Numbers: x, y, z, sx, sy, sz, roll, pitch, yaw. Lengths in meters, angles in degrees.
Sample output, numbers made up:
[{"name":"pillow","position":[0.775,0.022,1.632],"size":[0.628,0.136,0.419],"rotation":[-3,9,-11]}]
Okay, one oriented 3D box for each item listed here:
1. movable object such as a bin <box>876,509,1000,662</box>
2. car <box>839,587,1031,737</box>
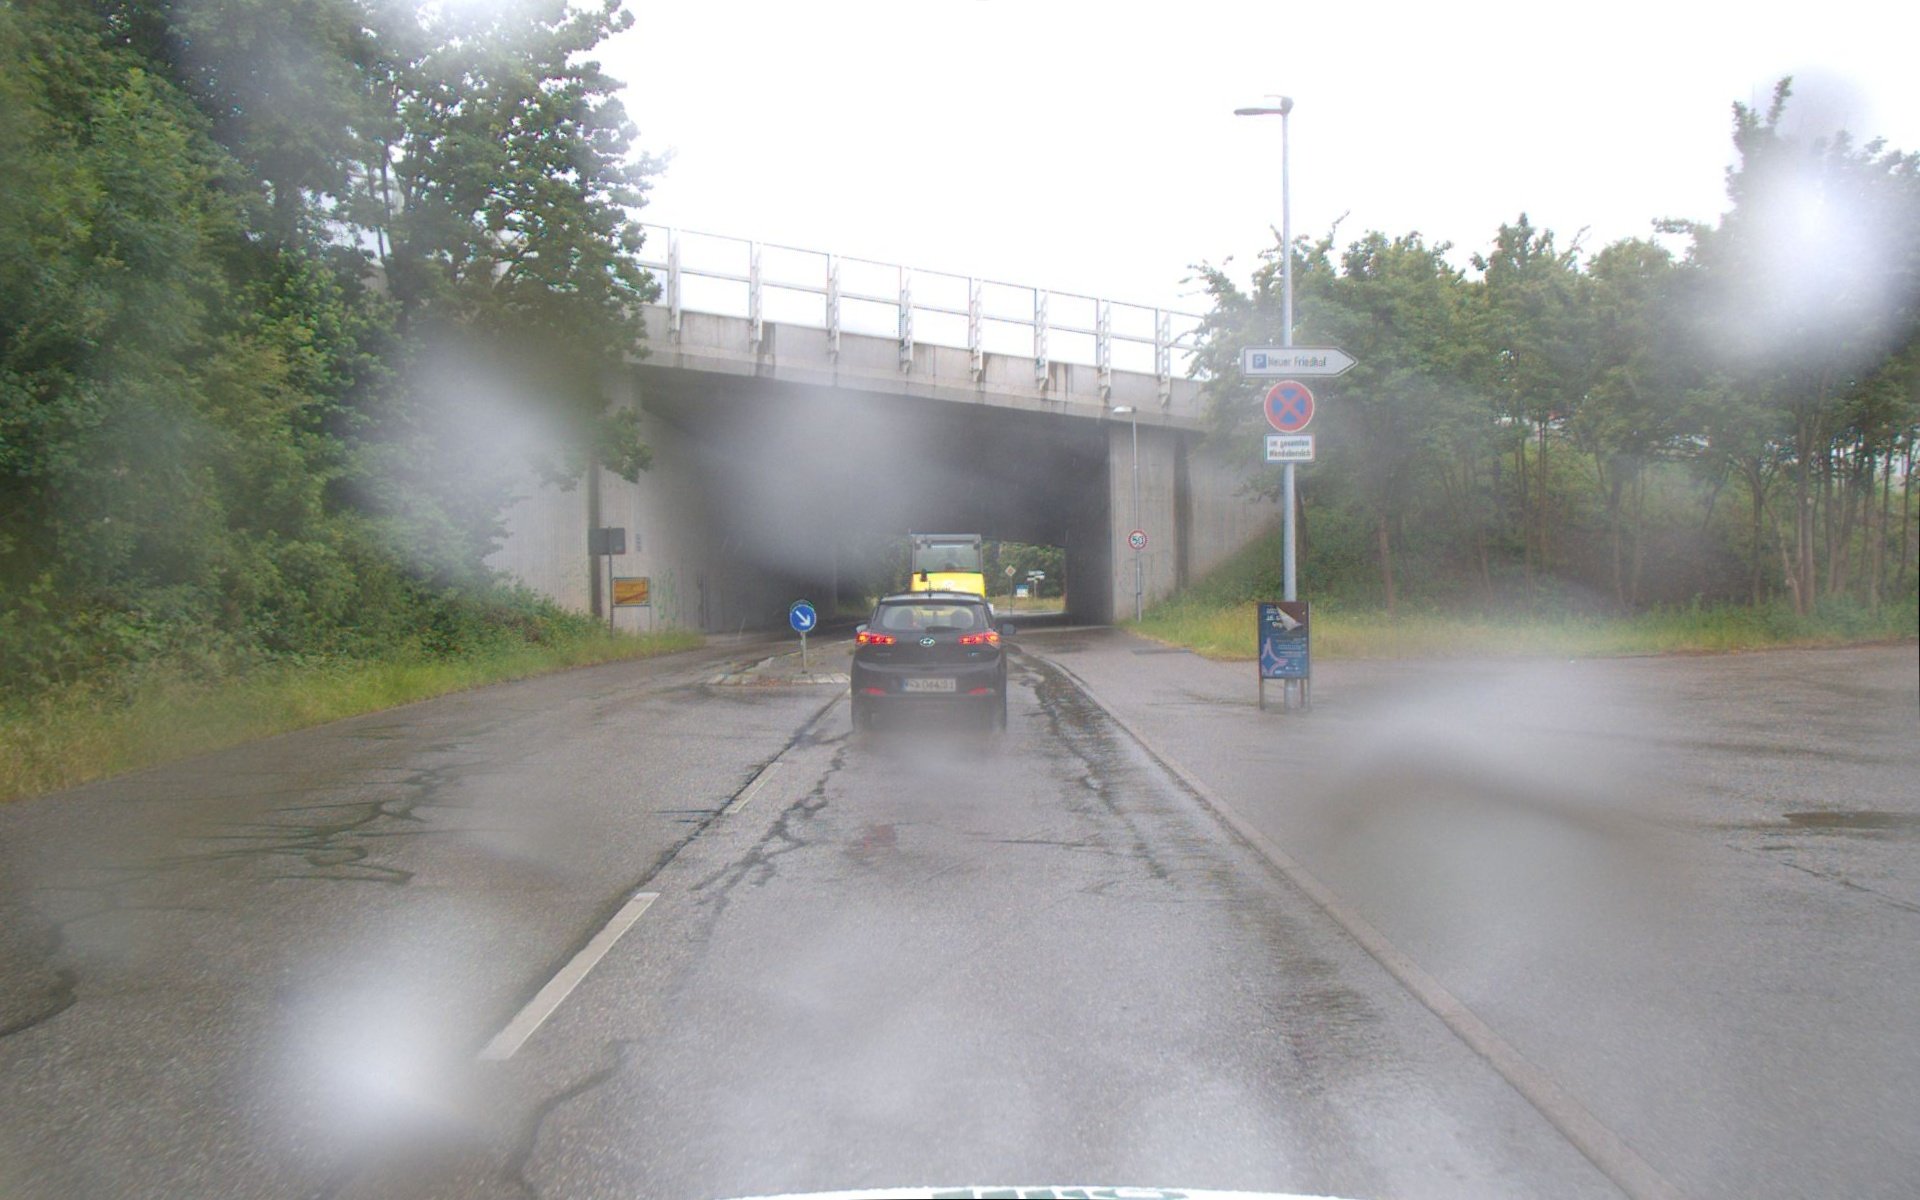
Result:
[{"name":"movable object such as a bin","position":[-0.468,-0.273,32.976],"size":[2.200,2.716,6.625],"rotation":[1,0,-1]},{"name":"car","position":[-0.298,0.634,18.953],"size":[1.953,1.513,3.999],"rotation":[1,0,-1]}]
